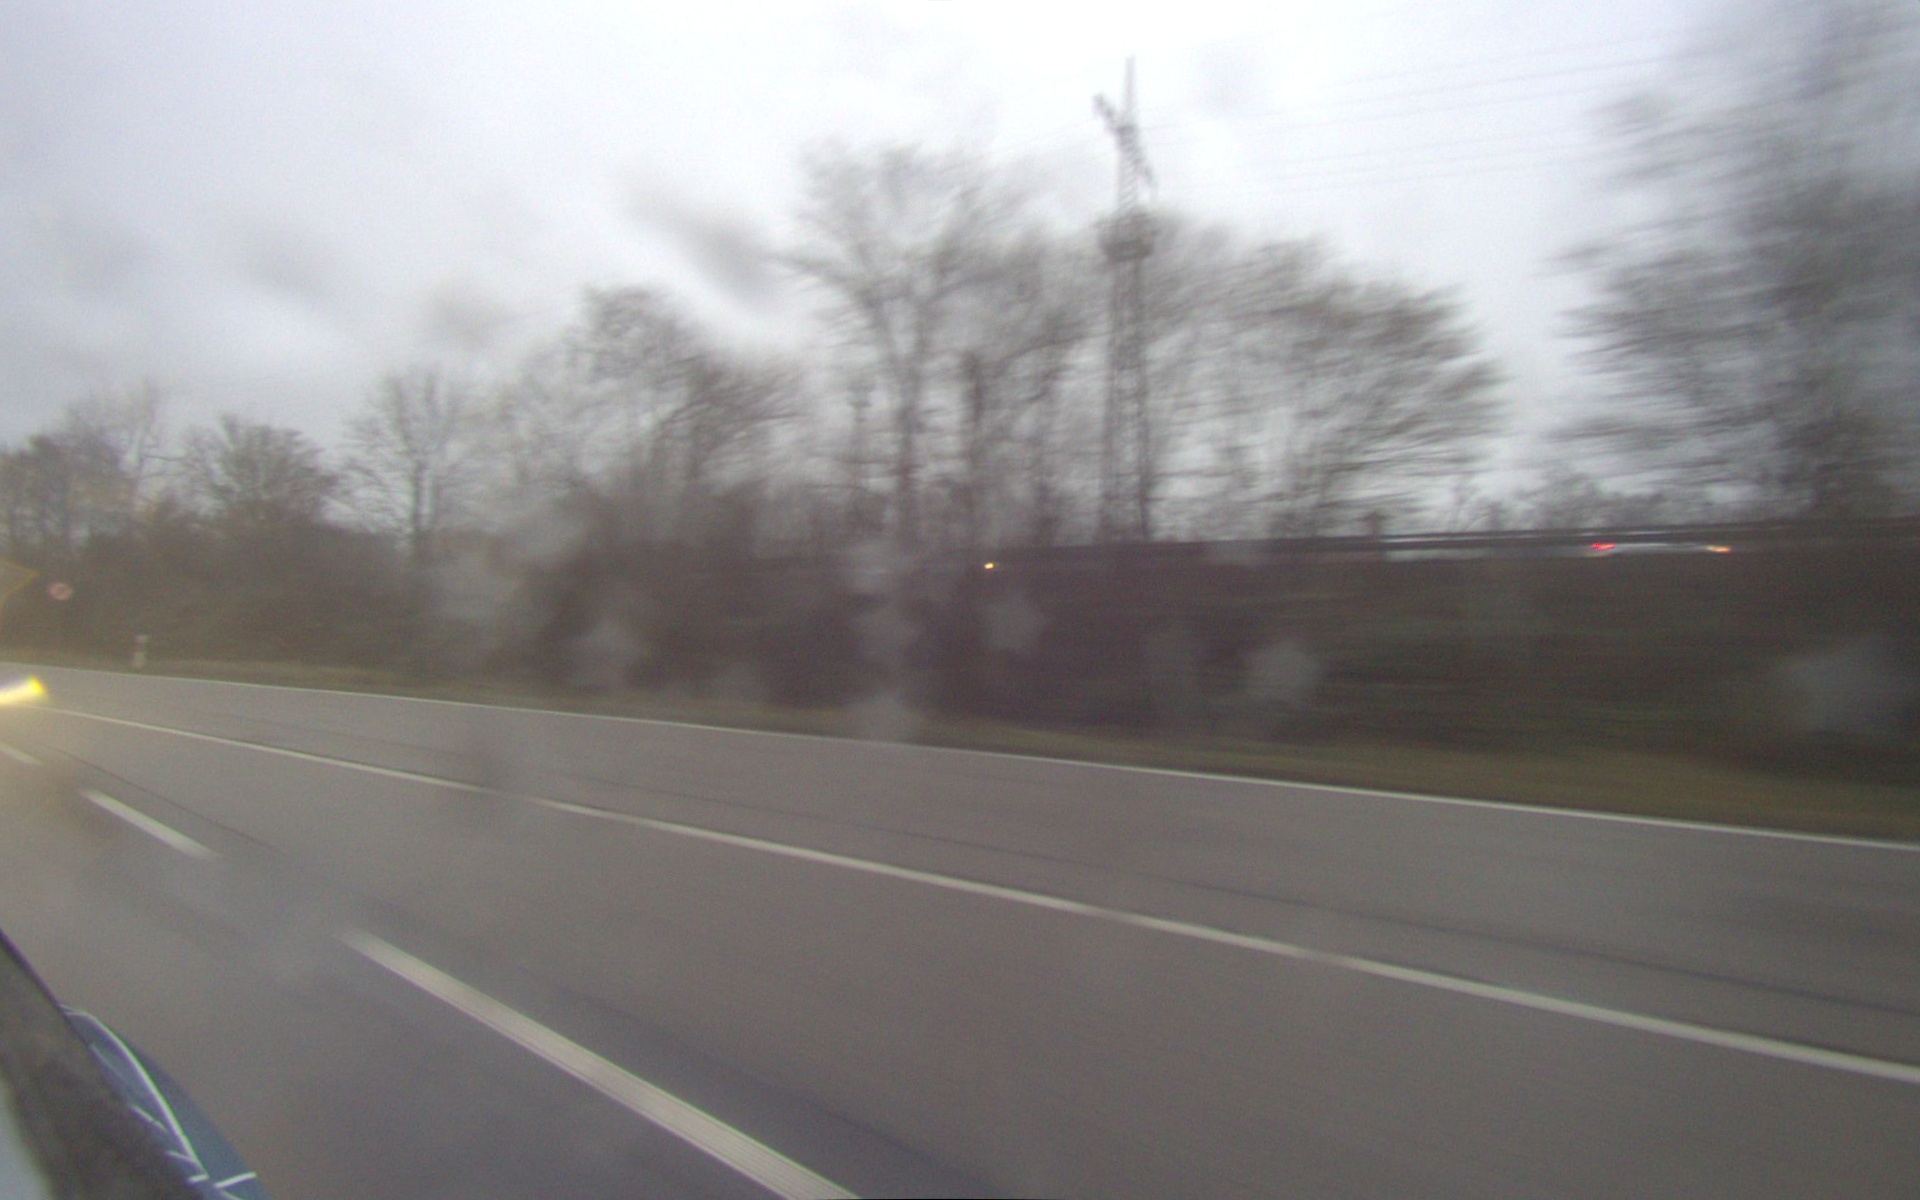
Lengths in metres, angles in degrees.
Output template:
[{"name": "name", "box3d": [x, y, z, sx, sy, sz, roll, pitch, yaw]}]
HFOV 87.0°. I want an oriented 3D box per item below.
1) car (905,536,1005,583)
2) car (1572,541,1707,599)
[{"name": "car", "box3d": [-0.215, -1.879, 47.341, 4.206, 2.028, 1.983, -1, 1, 26]}, {"name": "car", "box3d": [25.657, -1.099, 38.376, 3.978, 2.029, 1.869, -1, 1, 26]}]
